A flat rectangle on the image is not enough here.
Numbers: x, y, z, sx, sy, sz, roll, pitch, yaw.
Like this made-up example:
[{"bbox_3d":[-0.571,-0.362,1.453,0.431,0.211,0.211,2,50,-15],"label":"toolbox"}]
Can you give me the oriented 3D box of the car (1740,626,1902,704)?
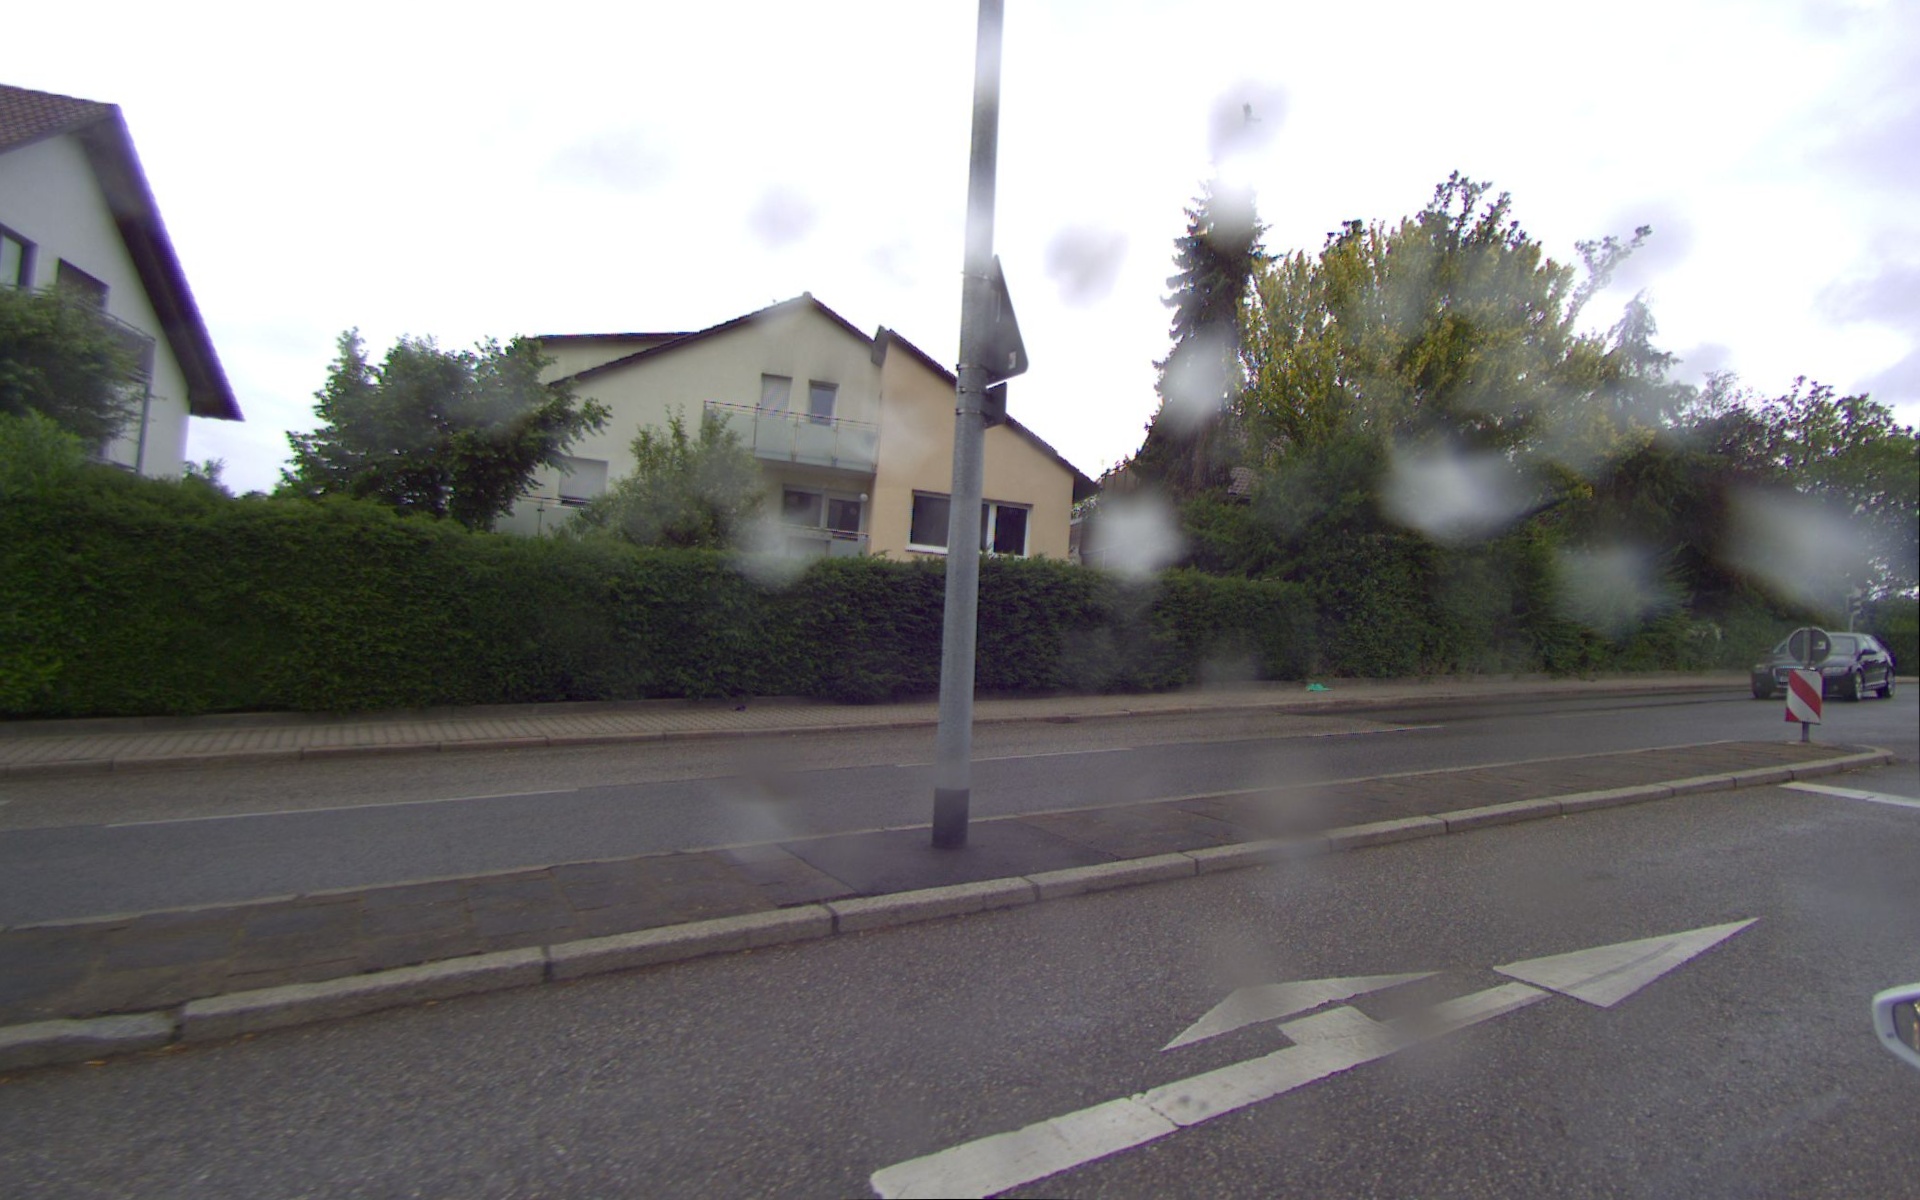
[{"bbox_3d":[18.618,1.347,21.684,3.796,1.512,1.850,2,-2,-36],"label":"car"}]
